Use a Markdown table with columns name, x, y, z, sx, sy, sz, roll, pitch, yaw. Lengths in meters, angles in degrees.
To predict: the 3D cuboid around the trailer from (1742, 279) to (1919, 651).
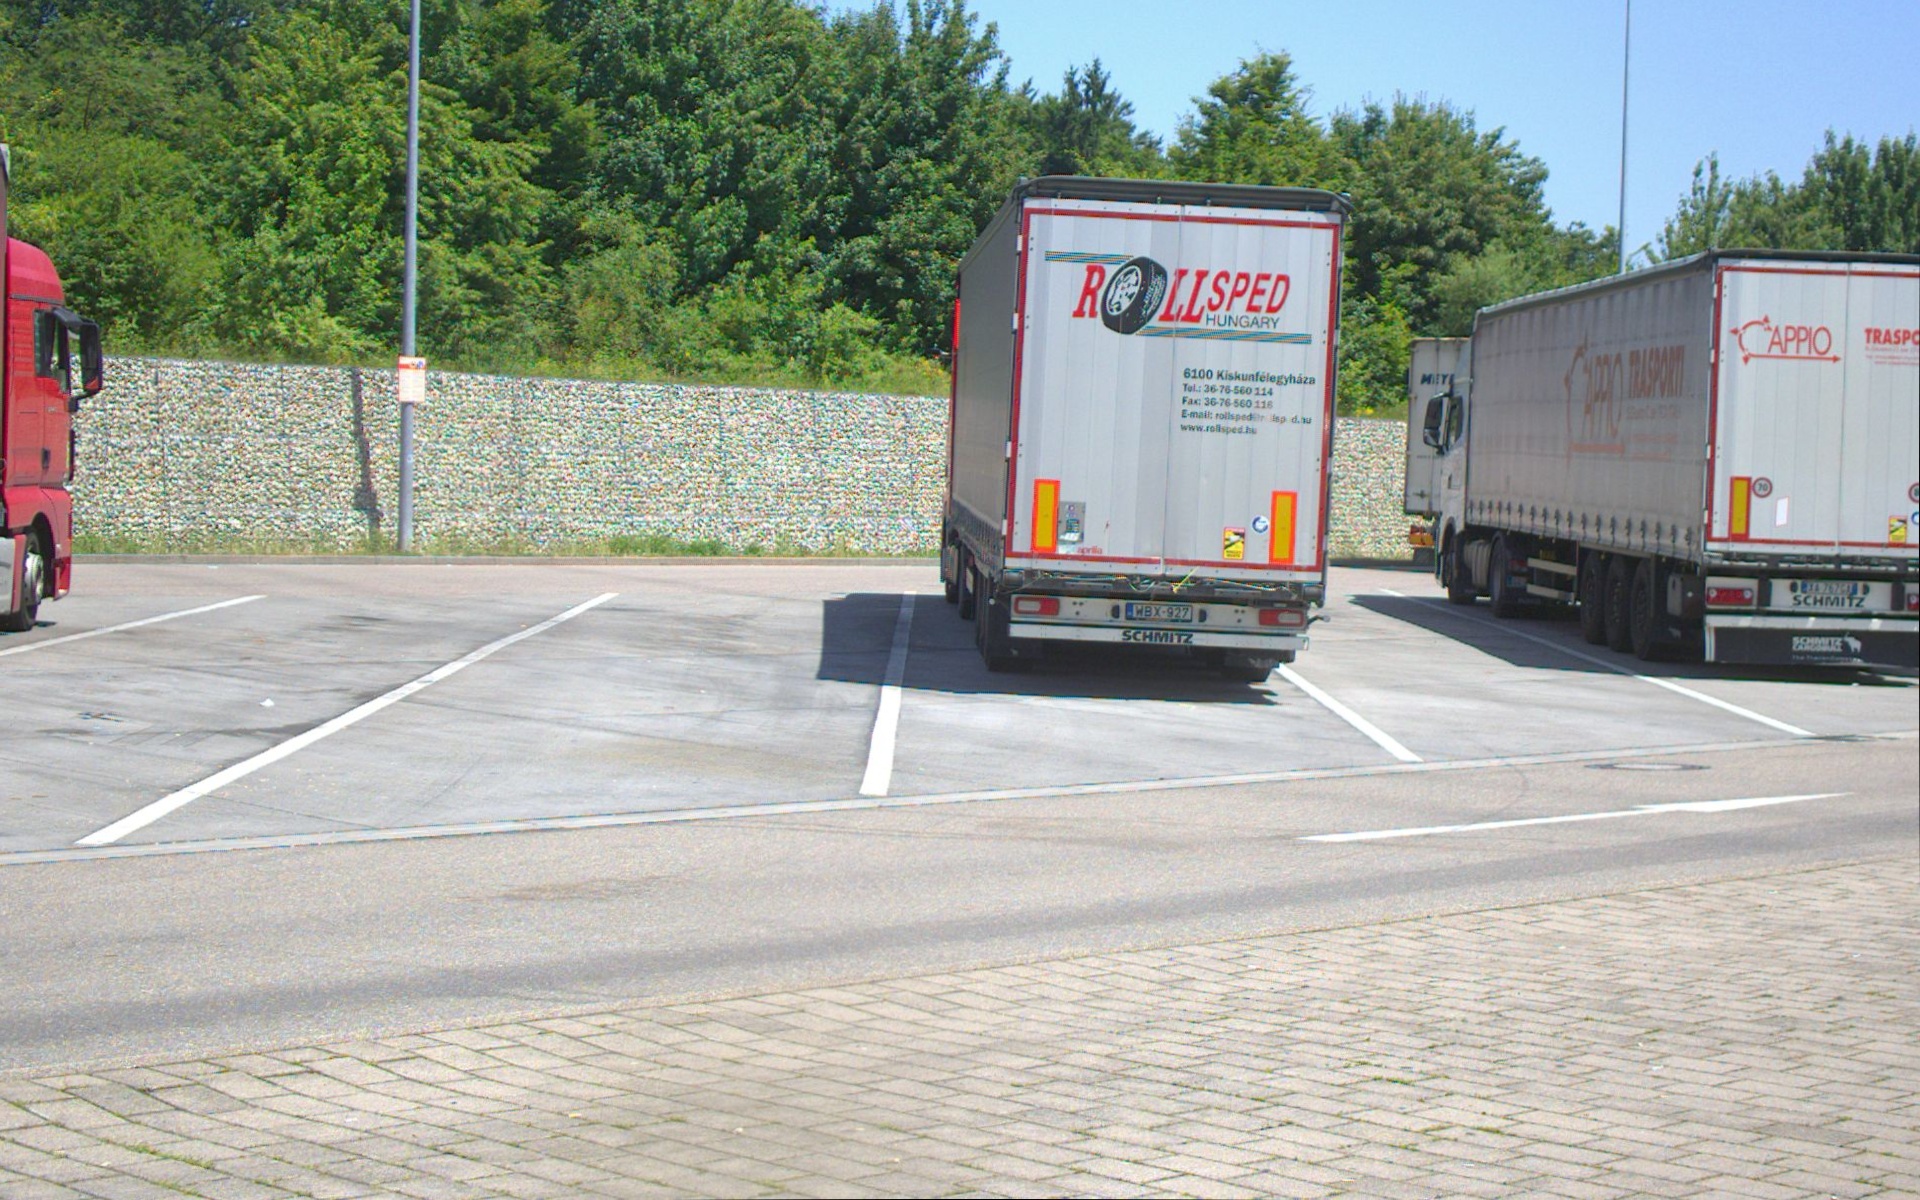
| name | x | y | z | sx | sy | sz | roll | pitch | yaw |
| --- | --- | --- | --- | --- | --- | --- | --- | --- | --- |
| trailer | 11.844 | -1.526 | 39.018 | 2.866 | 4.023 | 12.439 | 2 | 3 | 0 |

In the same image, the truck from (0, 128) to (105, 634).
| name | x | y | z | sx | sy | sz | roll | pitch | yaw |
| --- | --- | --- | --- | --- | --- | --- | --- | --- | --- |
| truck | -9.144 | -1.813 | 27.979 | 2.696 | 4.099 | 6.240 | 2 | 3 | 0 |

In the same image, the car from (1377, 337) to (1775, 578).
| name | x | y | z | sx | sy | sz | roll | pitch | yaw |
| --- | --- | --- | --- | --- | --- | --- | --- | --- | --- |
| car | 11.282 | -2.529 | 62.295 | 2.687 | 4.030 | 8.446 | 6 | 5 | 43 |

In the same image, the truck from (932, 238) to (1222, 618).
| name | x | y | z | sx | sy | sz | roll | pitch | yaw |
| --- | --- | --- | --- | --- | --- | --- | --- | --- | --- |
| truck | 1.233 | -2.054 | 40.696 | 2.866 | 4.023 | 7.028 | 2 | 3 | -2 |

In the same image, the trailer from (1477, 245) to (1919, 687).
| name | x | y | z | sx | sy | sz | roll | pitch | yaw |
| --- | --- | --- | --- | --- | --- | --- | --- | --- | --- |
| trailer | 8.189 | -1.567 | 37.954 | 2.866 | 4.023 | 12.439 | 2 | 3 | 0 |

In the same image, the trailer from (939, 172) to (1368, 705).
| name | x | y | z | sx | sy | sz | roll | pitch | yaw |
| --- | --- | --- | --- | --- | --- | --- | --- | --- | --- |
| trailer | 1.444 | -1.636 | 33.617 | 2.866 | 4.023 | 14.243 | 2 | 3 | -2 |

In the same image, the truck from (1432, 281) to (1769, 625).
| name | x | y | z | sx | sy | sz | roll | pitch | yaw |
| --- | --- | --- | --- | --- | --- | --- | --- | --- | --- |
| truck | 8.130 | -1.949 | 44.581 | 2.866 | 4.023 | 6.957 | 2 | 3 | 0 |
